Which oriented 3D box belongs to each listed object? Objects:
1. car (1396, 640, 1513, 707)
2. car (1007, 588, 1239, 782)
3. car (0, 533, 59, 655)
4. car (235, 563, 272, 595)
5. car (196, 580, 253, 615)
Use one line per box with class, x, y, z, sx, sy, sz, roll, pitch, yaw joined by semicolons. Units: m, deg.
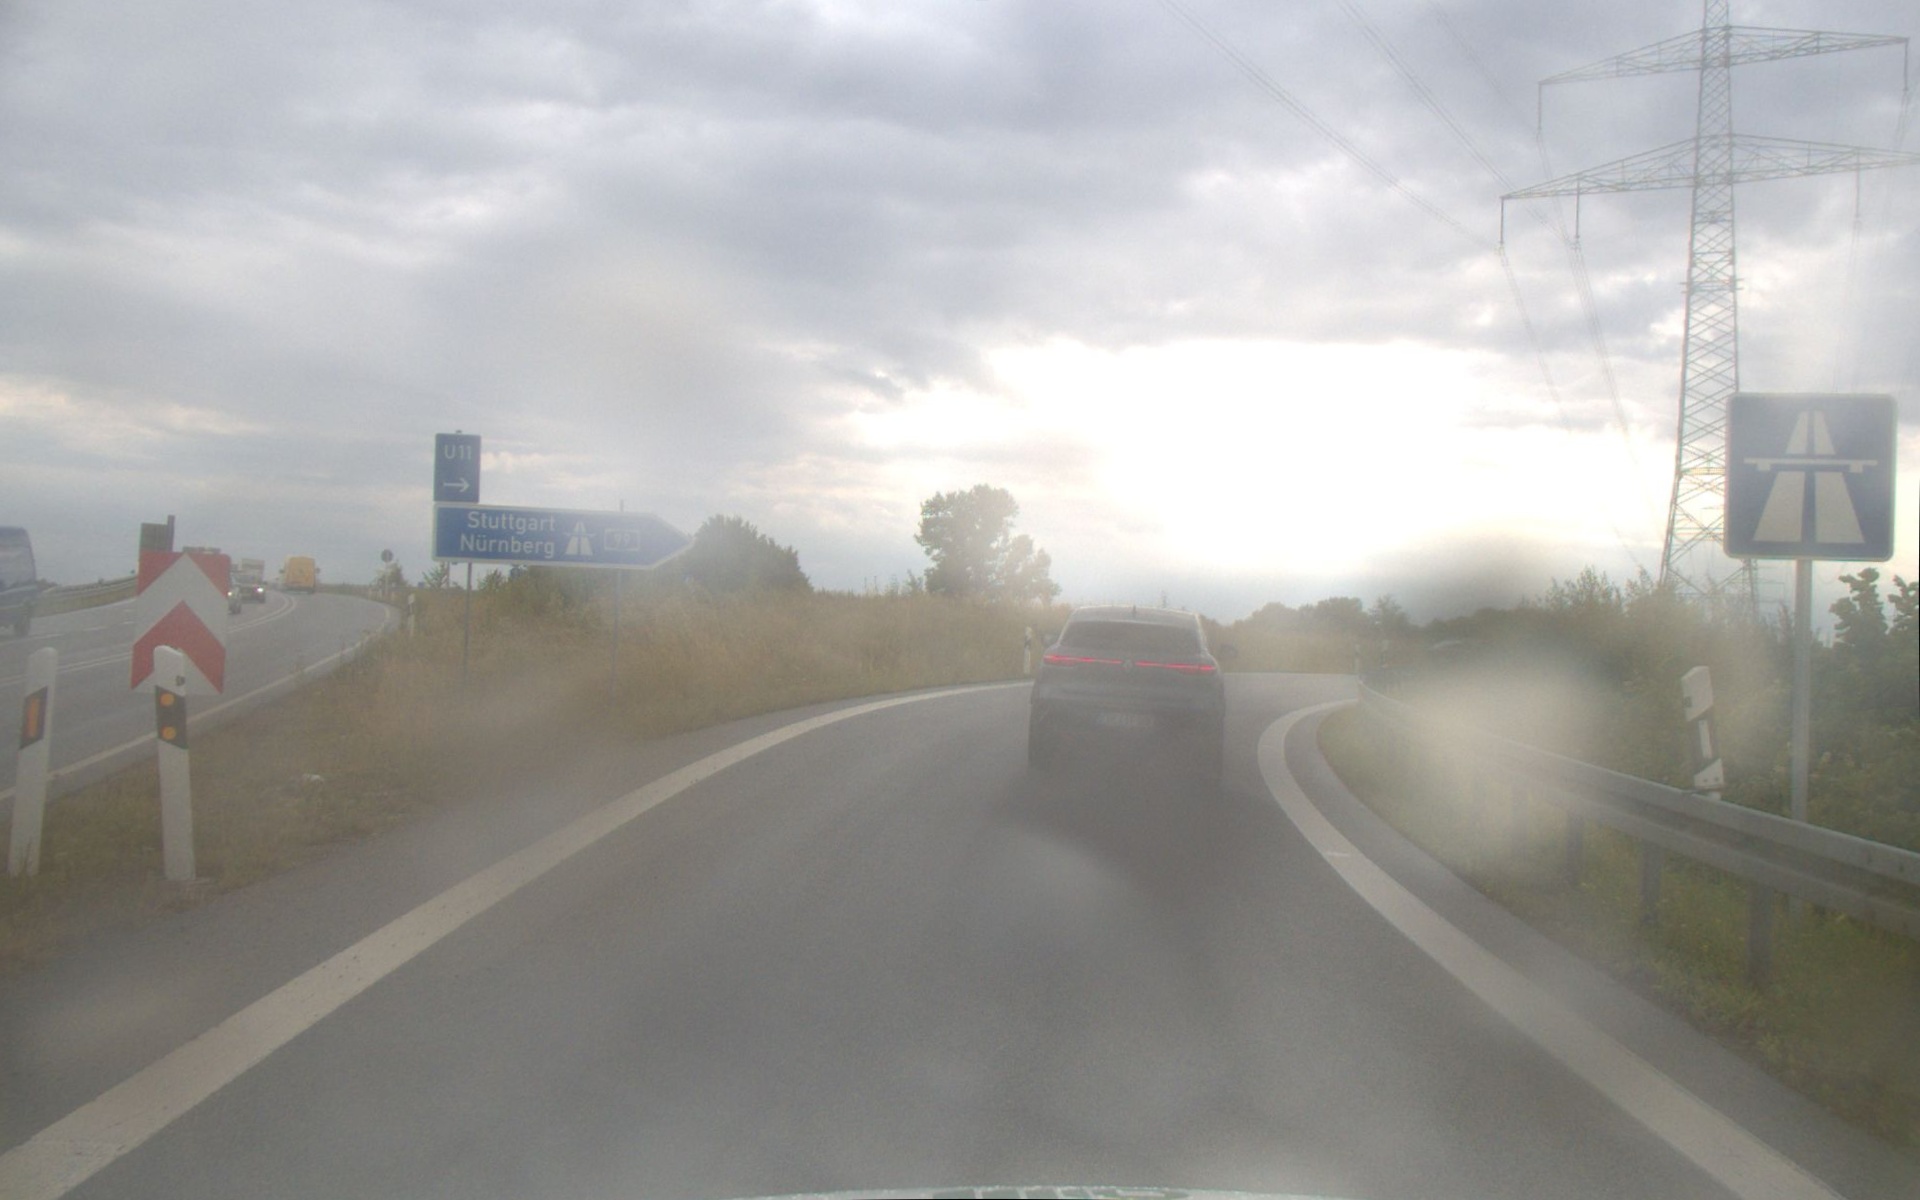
car;16.430;2.458;54.788;2.085;2.053;5.514;1;-2;35
car;1.631;0.724;16.476;1.951;1.593;4.152;2;1;6
car;-23.368;-0.149;38.847;2.286;2.773;6.261;1;0;-14
car;-32.039;-0.966;74.999;1.455;1.373;3.688;3;0;-23
car;-27.344;-0.117;61.557;1.408;1.196;3.121;3;0;-16
